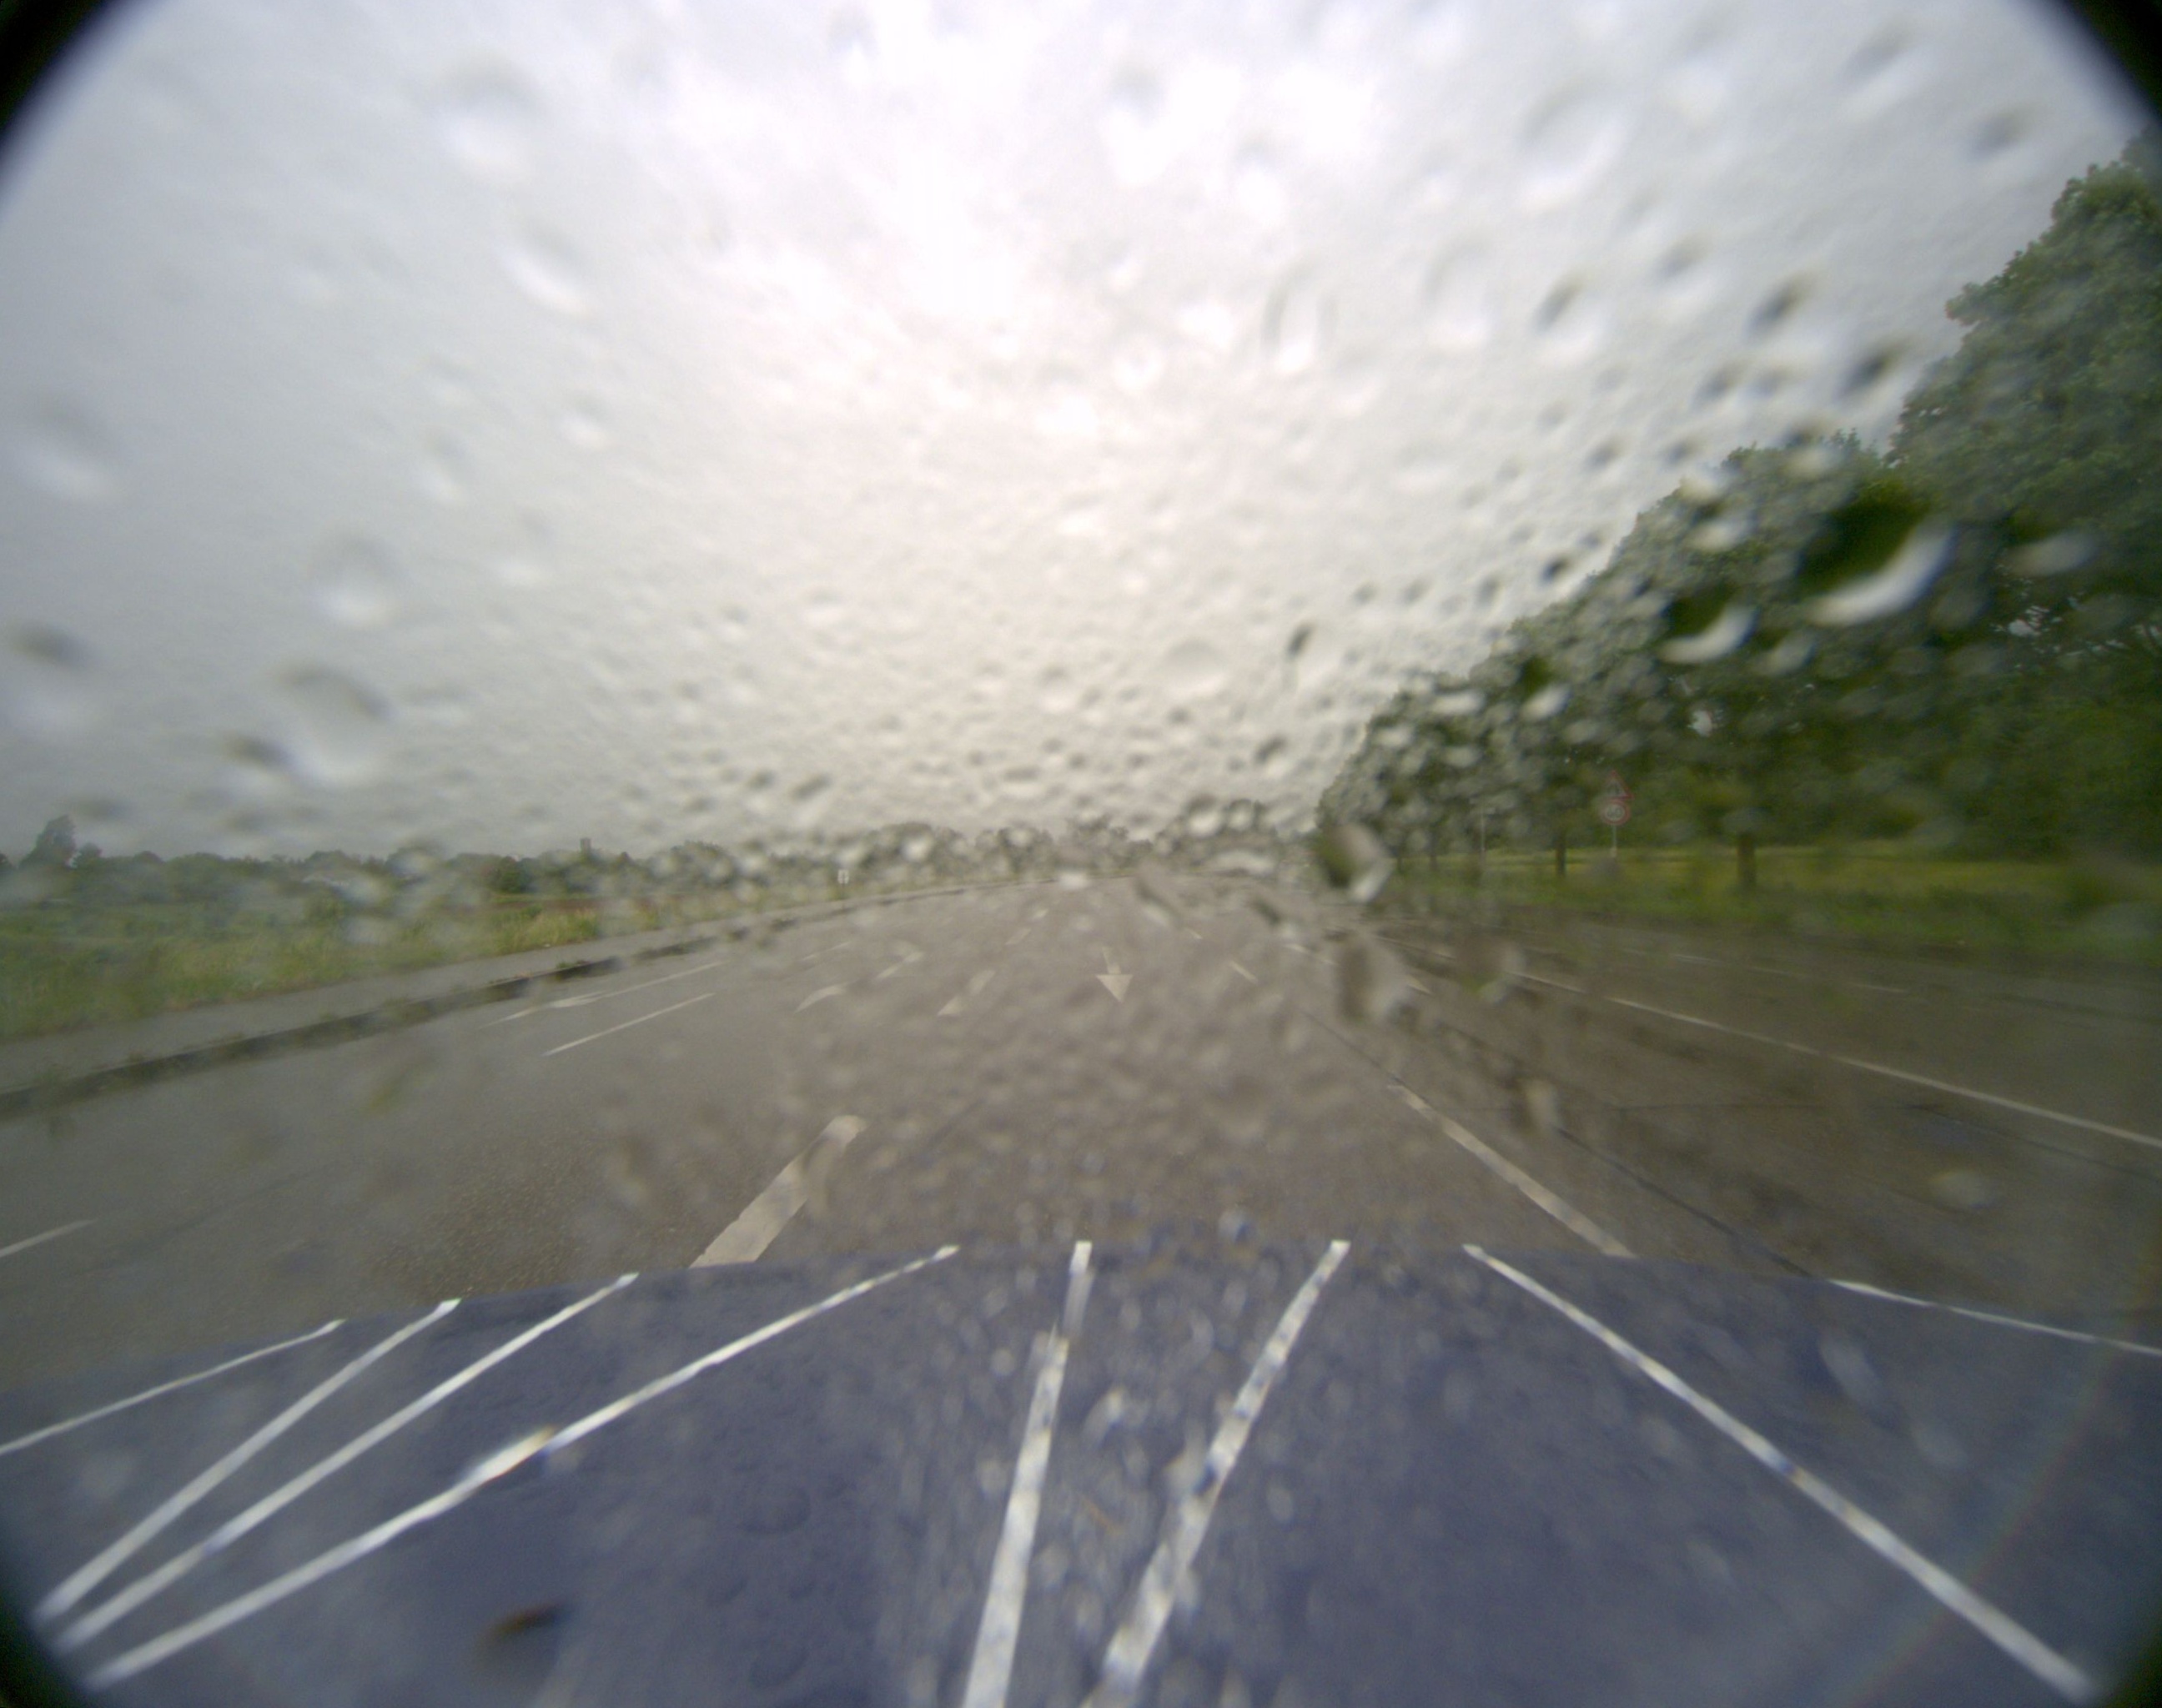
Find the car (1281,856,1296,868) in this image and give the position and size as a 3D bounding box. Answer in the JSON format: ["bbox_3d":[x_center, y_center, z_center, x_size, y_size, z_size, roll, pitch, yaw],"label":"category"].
[{"bbox_3d":[29.103,1.061,106.587,1.881,1.564,4.650,0,0,16],"label":"car"}]

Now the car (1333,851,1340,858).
[{"bbox_3d":[70.962,0.095,210.913,1.926,1.733,4.294,0,0,18],"label":"car"}]

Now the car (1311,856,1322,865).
[{"bbox_3d":[45.892,1.164,147.911,1.887,1.578,4.123,-3,0,16],"label":"car"}]

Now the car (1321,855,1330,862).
[{"bbox_3d":[52.076,1.025,161.909,1.741,1.478,4.016,0,0,19],"label":"car"}]

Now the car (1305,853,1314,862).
[{"bbox_3d":[48.963,0.684,162.505,1.741,1.979,4.016,0,1,18],"label":"car"}]
